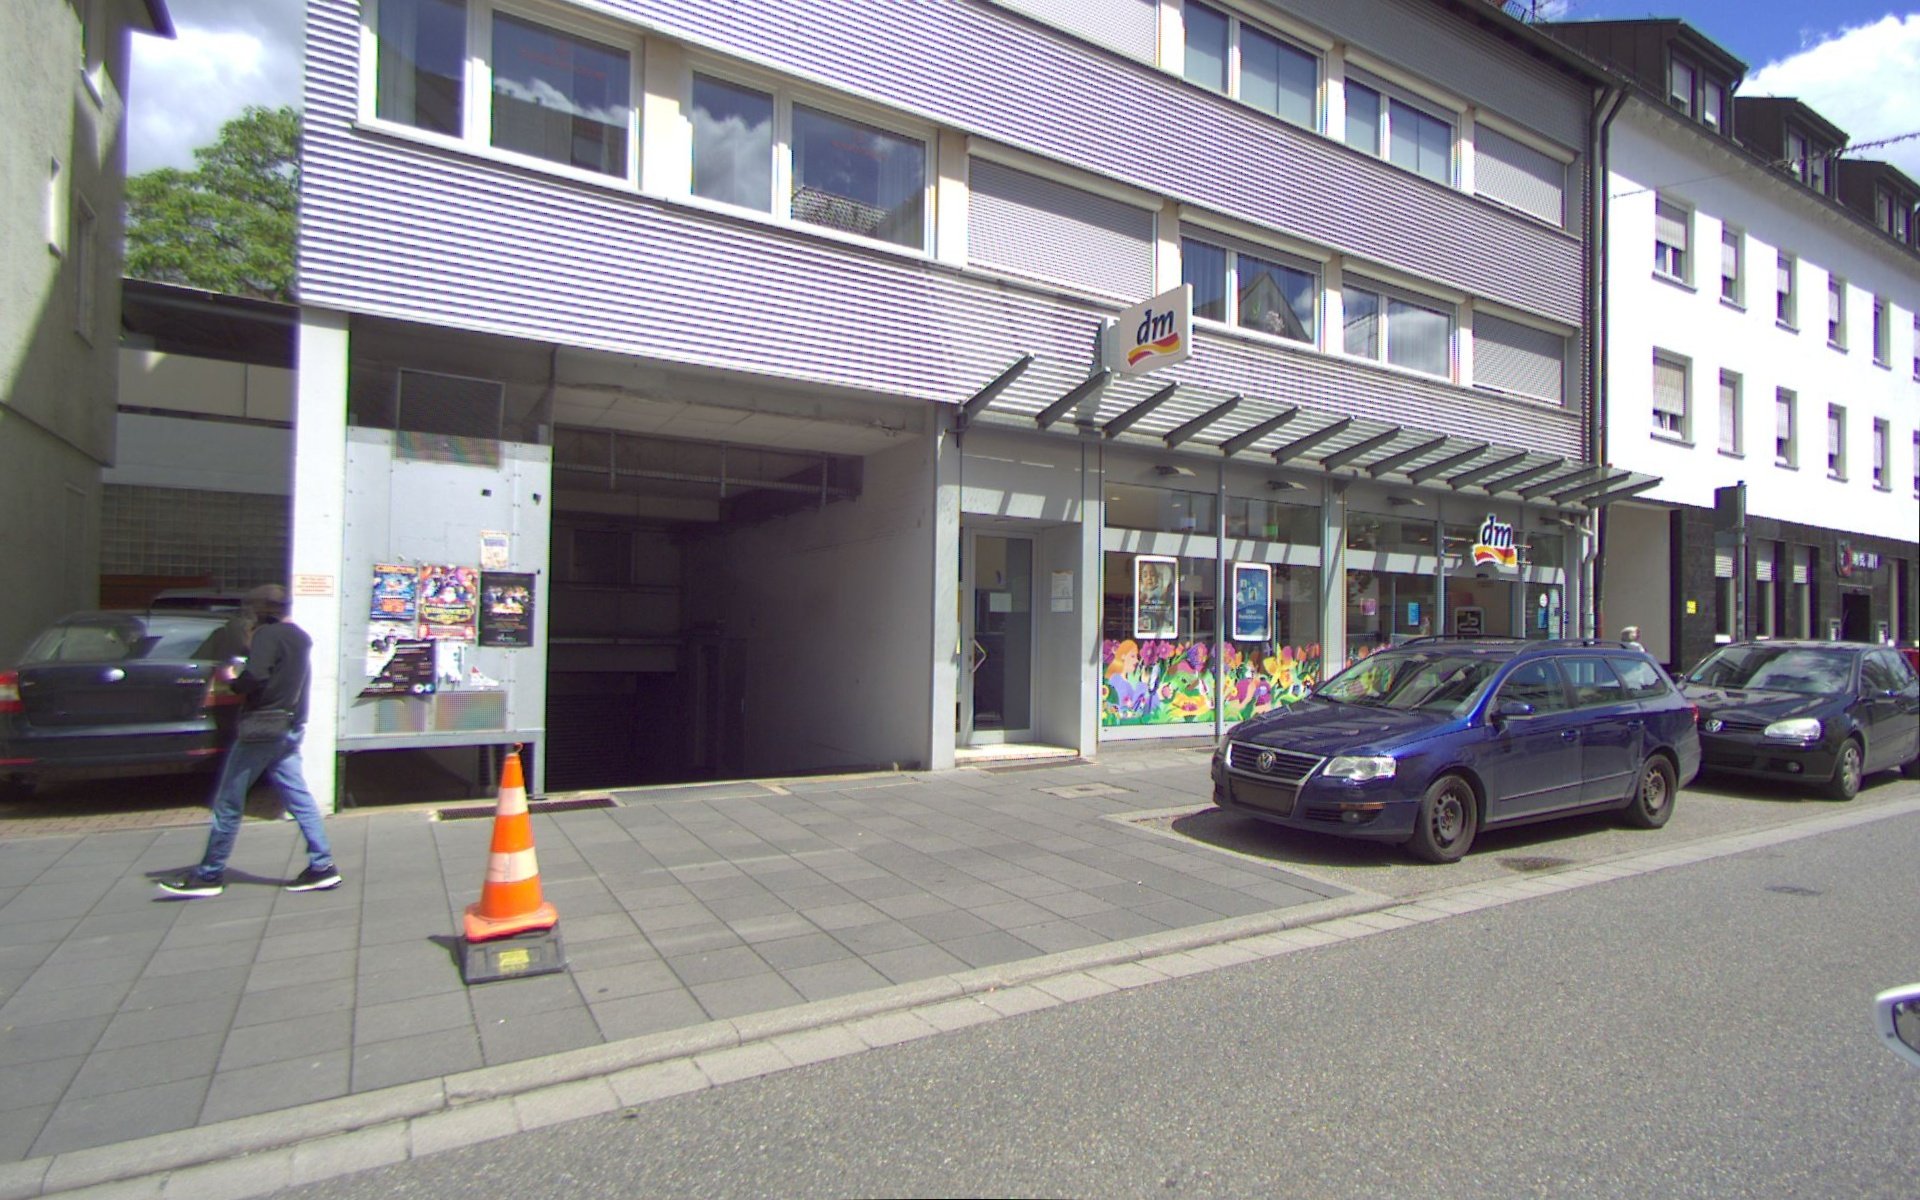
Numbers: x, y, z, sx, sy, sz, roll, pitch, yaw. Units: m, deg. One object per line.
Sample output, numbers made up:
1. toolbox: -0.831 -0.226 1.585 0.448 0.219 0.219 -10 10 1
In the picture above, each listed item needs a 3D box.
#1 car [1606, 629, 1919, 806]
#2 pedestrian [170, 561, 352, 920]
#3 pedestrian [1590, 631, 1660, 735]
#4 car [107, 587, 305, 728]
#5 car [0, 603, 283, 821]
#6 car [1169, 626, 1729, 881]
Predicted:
1. car: 8.970 1.128 10.949 4.135 1.523 1.779 2 0 -34
2. pedestrian: -3.739 0.706 5.415 0.721 1.780 0.544 2 0 -34
3. pedestrian: 9.880 1.219 14.930 0.556 1.474 0.651 2 0 -30
4. car: -9.812 0.658 13.349 1.638 1.584 3.801 2 0 -31
5. car: -7.080 0.795 8.785 1.638 1.428 3.801 2 0 -31
6. car: 4.055 1.040 8.096 4.657 1.533 1.781 2 -1 -30
